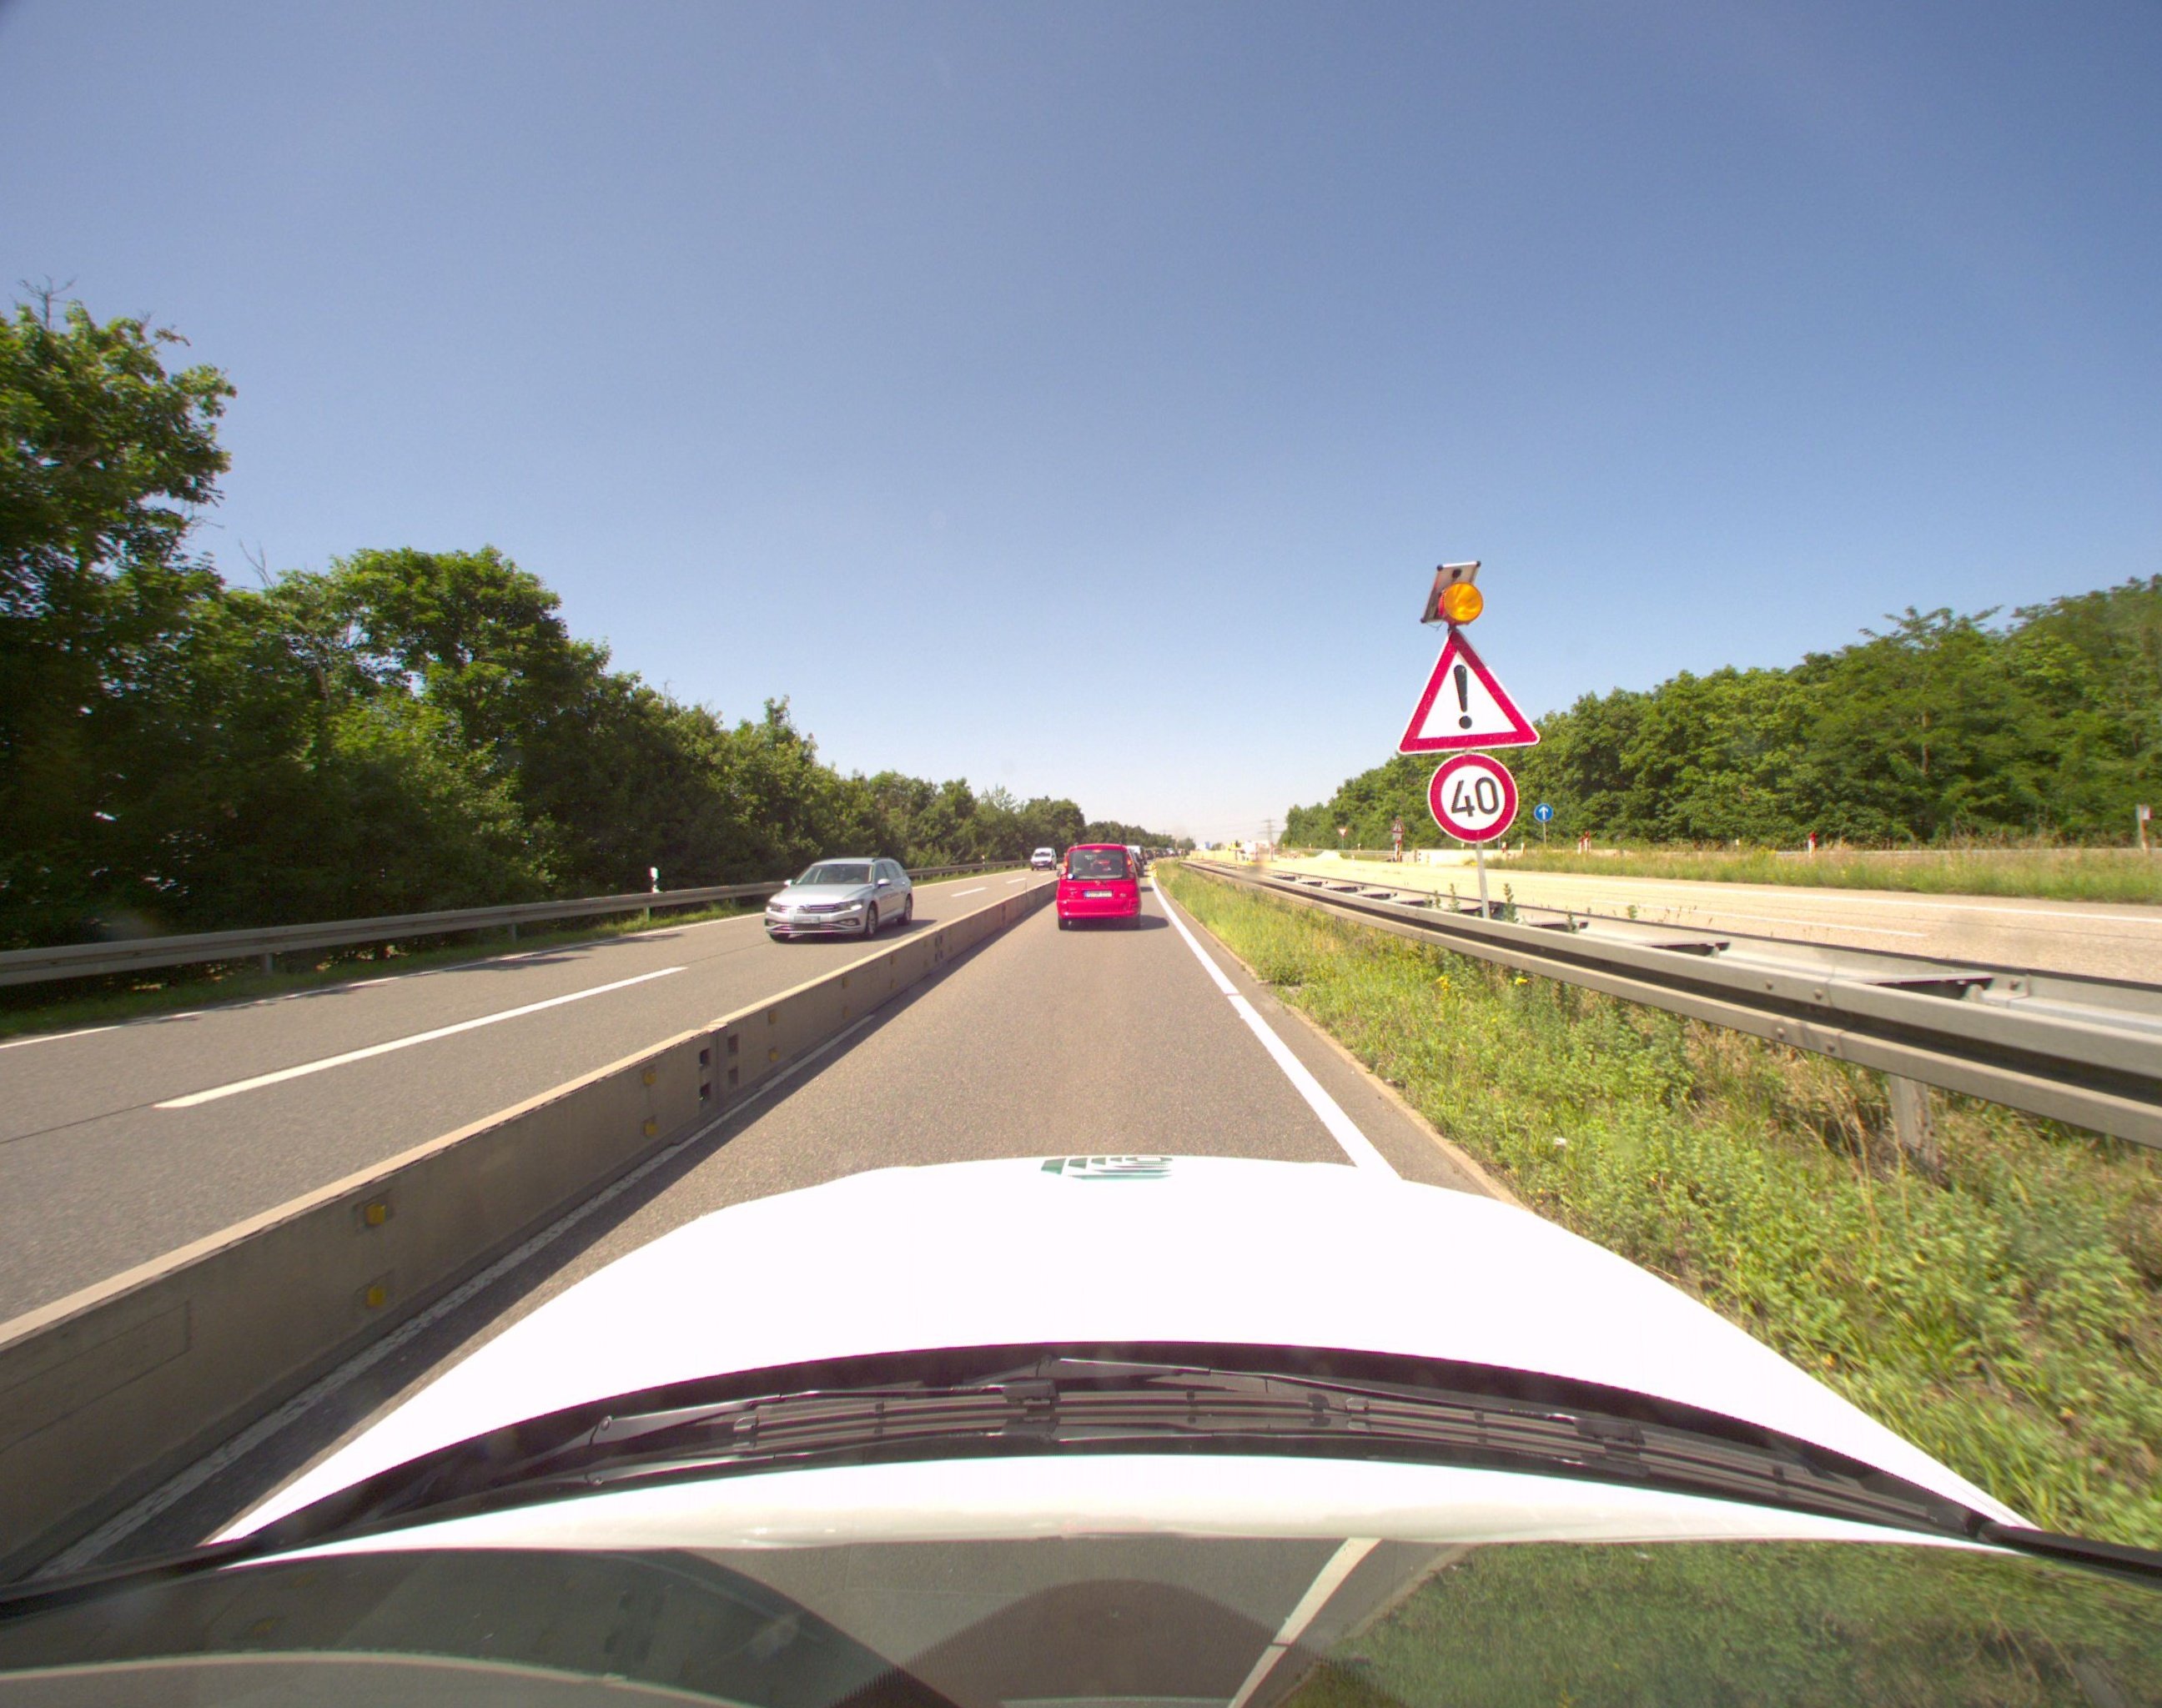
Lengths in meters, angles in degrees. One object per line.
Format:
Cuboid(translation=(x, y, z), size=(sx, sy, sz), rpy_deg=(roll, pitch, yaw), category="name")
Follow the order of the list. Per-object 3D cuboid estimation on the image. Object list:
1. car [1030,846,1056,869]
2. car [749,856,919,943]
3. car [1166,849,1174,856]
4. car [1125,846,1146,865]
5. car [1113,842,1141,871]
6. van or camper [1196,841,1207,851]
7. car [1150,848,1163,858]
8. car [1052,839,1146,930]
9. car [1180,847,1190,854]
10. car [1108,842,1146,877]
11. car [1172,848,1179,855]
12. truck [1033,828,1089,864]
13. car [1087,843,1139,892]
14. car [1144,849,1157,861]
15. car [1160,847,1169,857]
Cuboid(translation=(-3.083, 0.255, 66.474), size=(1.749, 1.765, 4.286), rpy_deg=(-2, 0, 2), category="car")
Cuboid(translation=(-4.648, 0.780, 16.088), size=(1.942, 1.421, 4.354), rpy_deg=(-1, 0, 1), category="car")
Cuboid(translation=(17.096, -0.238, 156.268), size=(1.414, 1.298, 2.884), rpy_deg=(-2, 0, 6), category="car")
Cuboid(translation=(5.243, 0.175, 78.832), size=(1.985, 1.750, 4.003), rpy_deg=(-1, 0, 3), category="car")
Cuboid(translation=(3.314, 0.160, 59.258), size=(1.986, 2.003, 4.002), rpy_deg=(-1, 0, 2), category="car")
Cuboid(translation=(31.354, -2.082, 212.376), size=(2.319, 2.707, 4.595), rpy_deg=(-2, 0, 2), category="van or camper")
Cuboid(translation=(11.690, -0.160, 126.012), size=(1.984, 1.585, 4.006), rpy_deg=(-1, 0, 5), category="car")
Cuboid(translation=(0.421, 0.576, 17.347), size=(1.745, 1.673, 4.002), rpy_deg=(-1, 0, 2), category="car")
Cuboid(translation=(24.940, -0.789, 195.447), size=(1.985, 1.552, 4.004), rpy_deg=(-1, 0, 4), category="car")
Cuboid(translation=(2.603, 0.303, 45.986), size=(1.985, 1.838, 4.004), rpy_deg=(-1, 0, 4), category="car")
Cuboid(translation=(19.934, -0.460, 172.402), size=(1.494, 1.450, 3.175), rpy_deg=(-2, 0, 6), category="car")
Cuboid(translation=(-3.242, -1.314, 133.288), size=(8.579, 5.375, 3.394), rpy_deg=(-2, 0, 5), category="truck")
Cuboid(translation=(1.287, 0.482, 31.292), size=(1.822, 1.722, 4.004), rpy_deg=(-1, 0, 4), category="car")
Cuboid(translation=(8.597, 0.109, 100.827), size=(1.495, 1.450, 3.328), rpy_deg=(-1, 0, 4), category="car")
Cuboid(translation=(14.413, -0.377, 140.551), size=(1.495, 1.736, 3.174), rpy_deg=(-2, 0, 4), category="car")
